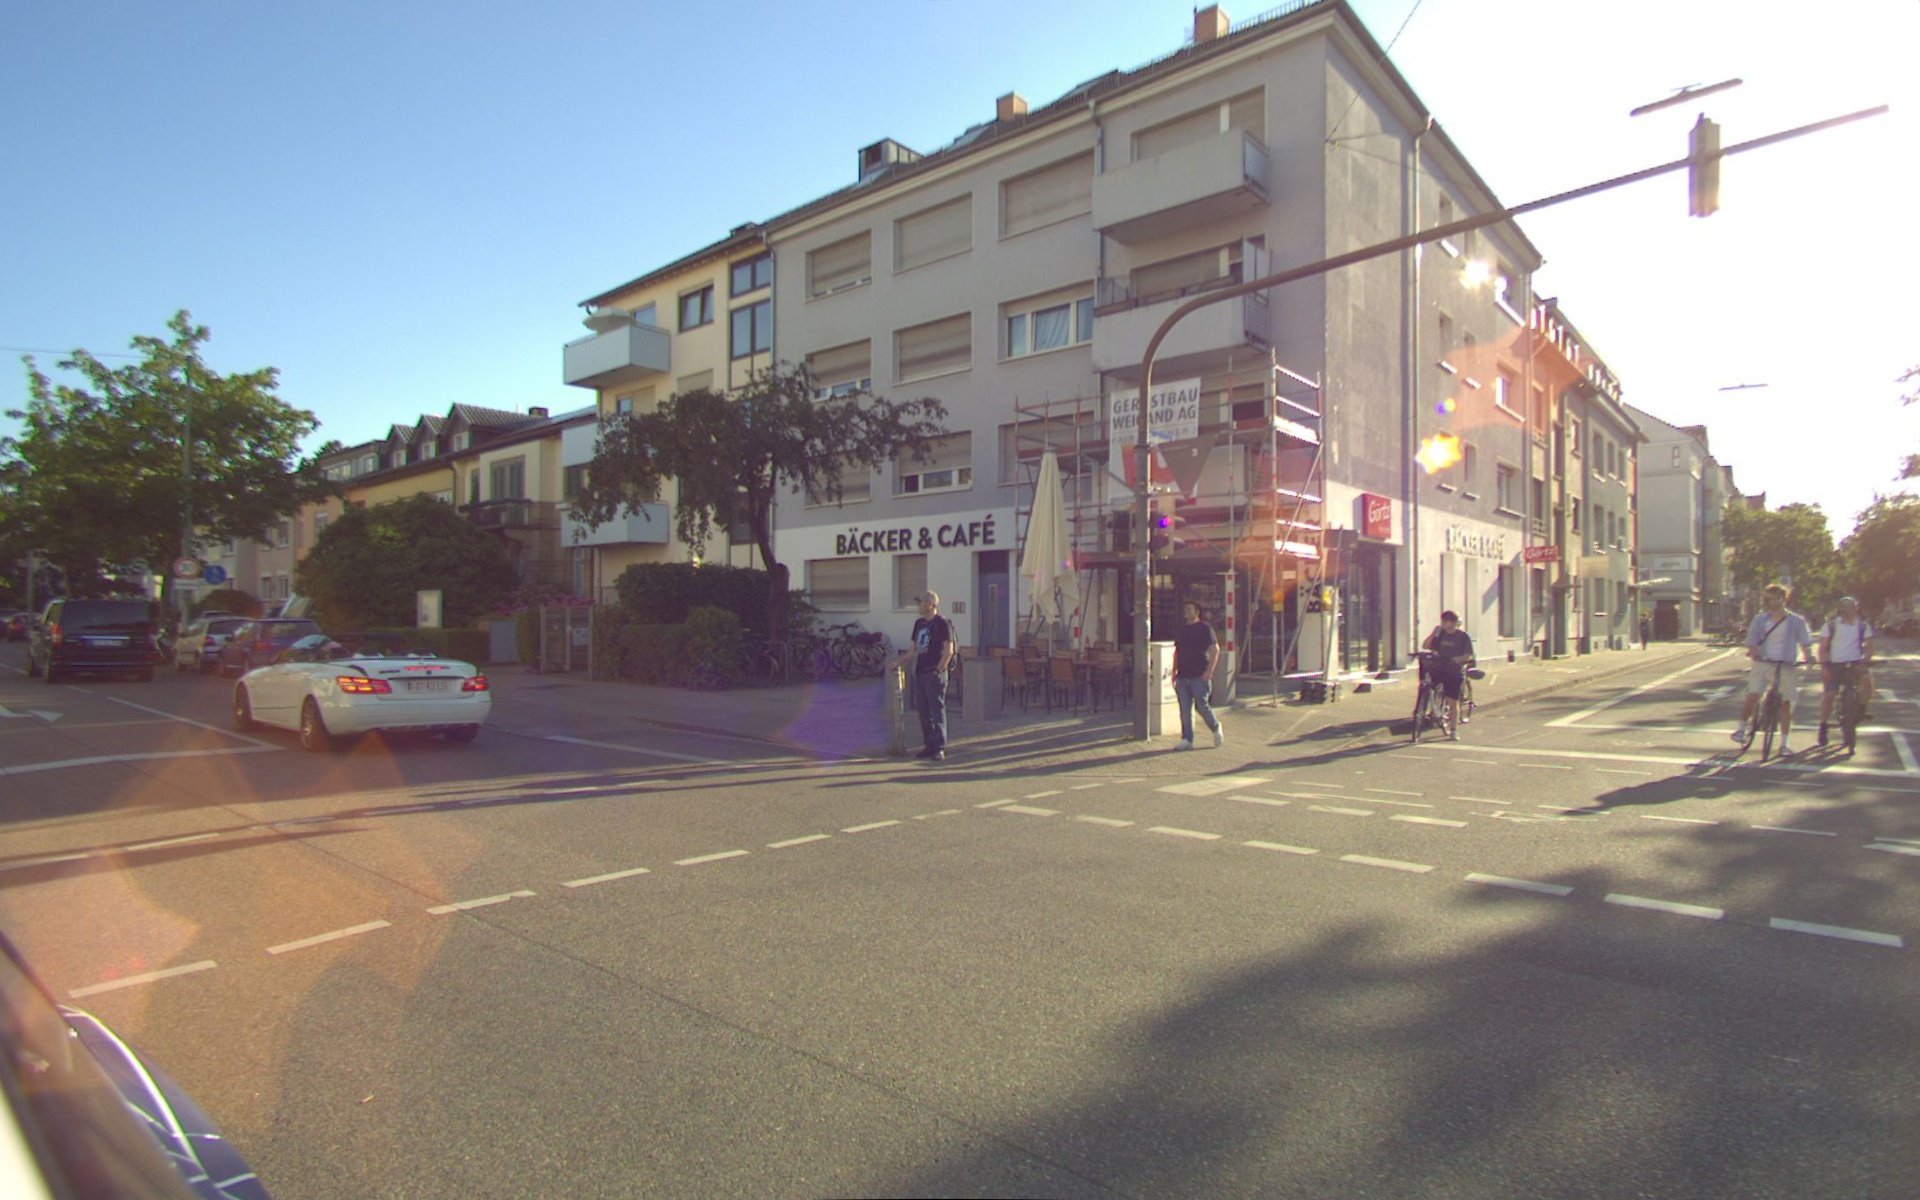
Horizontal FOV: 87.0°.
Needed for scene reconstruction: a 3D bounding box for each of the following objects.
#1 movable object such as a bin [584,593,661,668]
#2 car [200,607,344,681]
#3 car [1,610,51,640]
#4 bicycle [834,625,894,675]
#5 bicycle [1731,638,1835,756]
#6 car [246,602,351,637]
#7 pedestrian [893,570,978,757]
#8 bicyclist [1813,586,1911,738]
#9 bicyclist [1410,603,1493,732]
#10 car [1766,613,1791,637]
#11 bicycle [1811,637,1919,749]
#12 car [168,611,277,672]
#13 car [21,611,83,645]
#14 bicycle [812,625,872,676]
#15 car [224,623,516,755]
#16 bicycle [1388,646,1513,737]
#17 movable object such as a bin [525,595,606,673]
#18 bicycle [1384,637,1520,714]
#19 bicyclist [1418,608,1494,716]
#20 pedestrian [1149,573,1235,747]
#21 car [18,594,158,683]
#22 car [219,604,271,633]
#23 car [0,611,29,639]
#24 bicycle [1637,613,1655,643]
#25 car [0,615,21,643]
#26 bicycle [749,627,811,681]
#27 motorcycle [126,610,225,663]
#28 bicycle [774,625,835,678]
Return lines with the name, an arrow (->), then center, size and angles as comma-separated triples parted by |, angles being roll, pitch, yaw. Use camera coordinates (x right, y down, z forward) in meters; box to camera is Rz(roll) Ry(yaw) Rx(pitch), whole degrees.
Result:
movable object such as a bin -> -8.089, 0.702, 24.281 | 1.180, 1.670, 1.293 | 1, 3, 41
car -> -16.655, 0.998, 24.450 | 3.947, 1.626, 1.788 | 0, -1, 39
car -> -49.751, 1.307, 53.899 | 3.658, 1.575, 1.620 | -1, -1, 42
bicycle -> -2.070, 1.064, 21.762 | 1.477, 1.022, 0.433 | -1, -1, 44
bicycle -> 9.271, 1.041, 11.468 | 0.726, 1.175, 1.975 | -2, -2, 35
car -> -32.318, 0.921, 49.616 | 1.823, 1.626, 4.395 | 0, -1, 10
pedestrian -> -0.282, 0.694, 11.481 | 0.739, 2.029, 0.631 | -1, -1, 42
bicyclist -> 10.701, 0.717, 12.030 | 0.748, 1.734, 0.601 | -2, -2, 35
bicyclist -> 6.590, 0.888, 13.587 | 0.662, 1.666, 0.751 | 1, -2, -39
car -> 59.816, 1.799, 73.995 | 1.391, 1.754, 2.783 | -1, -1, 39
bicycle -> 10.611, 1.036, 11.887 | 0.726, 1.165, 1.975 | -2, -2, 35
car -> -20.071, 1.066, 27.511 | 3.571, 1.547, 1.732 | -1, -1, 43
car -> -45.216, 1.351, 50.358 | 4.408, 1.626, 1.818 | -1, -1, 42
bicycle -> -2.499, 1.054, 21.326 | 1.477, 1.022, 0.433 | -1, -1, 44
car -> -7.488, 0.974, 12.652 | 4.439, 1.330, 1.822 | -1, -2, 41
bicycle -> 6.616, 1.188, 13.601 | 1.967, 1.097, 0.729 | 1, -2, -39
movable object such as a bin -> -9.086, 0.747, 23.338 | 1.180, 1.670, 1.293 | 1, 3, 41
bicycle -> 7.675, 1.160, 15.755 | 2.233, 1.097, 0.730 | 2, 0, -30
bicyclist -> 7.725, 0.953, 15.777 | 0.677, 1.606, 0.752 | 2, 0, -30
pedestrian -> 2.815, 0.696, 12.299 | 0.814, 2.029, 0.637 | 1, 1, 42
car -> -20.361, 0.837, 23.574 | 4.406, 1.891, 1.818 | -1, -1, 40
car -> -40.982, 1.044, 57.983 | 1.816, 1.626, 4.413 | 1, -1, -44
car -> -54.376, 1.392, 57.583 | 3.658, 1.575, 1.670 | -1, -1, 42
bicycle -> 30.496, 1.234, 44.977 | 0.596, 1.309, 0.426 | -1, 2, 39
car -> -59.826, 1.810, 63.019 | 3.658, 1.679, 1.670 | -1, -1, 42
bicycle -> -3.629, 1.066, 20.340 | 1.477, 1.022, 0.433 | -1, -1, 44
motorcycle -> -23.573, 1.065, 30.398 | 2.877, 1.547, 1.251 | 0, -1, 27
bicycle -> -3.206, 1.040, 20.765 | 1.477, 1.022, 0.433 | -1, -1, 44
